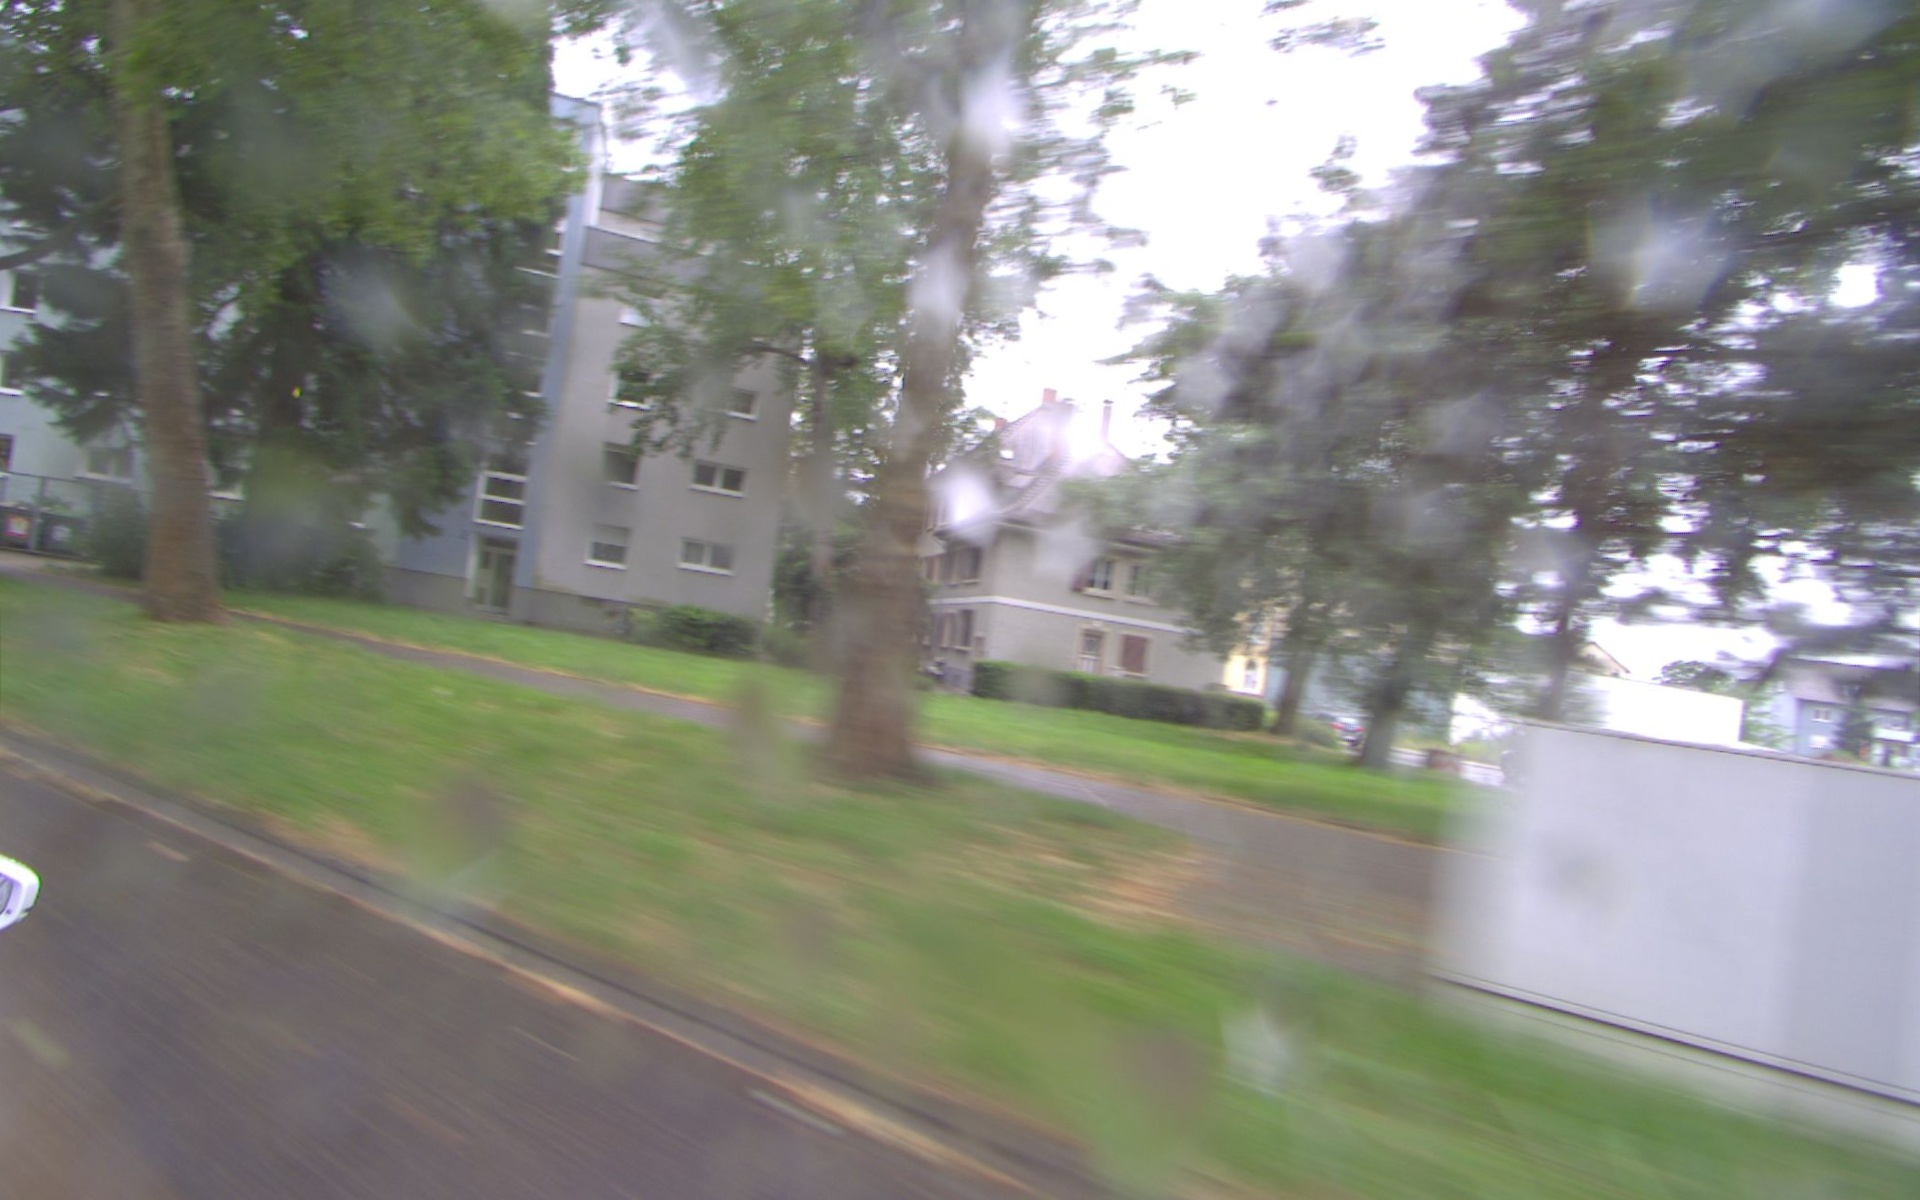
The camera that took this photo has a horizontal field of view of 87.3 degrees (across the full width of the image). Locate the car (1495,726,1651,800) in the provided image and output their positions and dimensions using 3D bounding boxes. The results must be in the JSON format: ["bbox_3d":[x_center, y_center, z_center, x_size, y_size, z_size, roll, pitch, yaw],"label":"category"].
[{"bbox_3d":[21.106,5.569,34.845,1.971,1.762,4.295,9,-3,-16],"label":"car"}]

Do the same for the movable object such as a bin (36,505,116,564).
[{"bbox_3d":[-26.400,-1.945,30.079,1.201,1.491,1.162,8,1,2],"label":"movable object such as a bin"}]

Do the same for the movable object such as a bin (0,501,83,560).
[{"bbox_3d":[-27.847,-2.079,30.380,1.345,1.448,1.323,8,-3,3],"label":"movable object such as a bin"}]

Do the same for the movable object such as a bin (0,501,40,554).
[{"bbox_3d":[-29.445,-2.319,30.493,1.828,1.448,1.218,8,-3,3],"label":"movable object such as a bin"}]

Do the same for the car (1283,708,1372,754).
[{"bbox_3d":[18.147,6.465,49.807,1.971,1.619,4.079,9,-4,-16],"label":"car"}]

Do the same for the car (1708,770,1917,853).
[{"bbox_3d":[26.200,6.477,31.151,1.951,1.565,4.520,9,-4,-16],"label":"car"}]

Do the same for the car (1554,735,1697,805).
[{"bbox_3d":[24.657,6.267,37.459,1.854,1.829,4.079,9,-3,-16],"label":"car"}]
